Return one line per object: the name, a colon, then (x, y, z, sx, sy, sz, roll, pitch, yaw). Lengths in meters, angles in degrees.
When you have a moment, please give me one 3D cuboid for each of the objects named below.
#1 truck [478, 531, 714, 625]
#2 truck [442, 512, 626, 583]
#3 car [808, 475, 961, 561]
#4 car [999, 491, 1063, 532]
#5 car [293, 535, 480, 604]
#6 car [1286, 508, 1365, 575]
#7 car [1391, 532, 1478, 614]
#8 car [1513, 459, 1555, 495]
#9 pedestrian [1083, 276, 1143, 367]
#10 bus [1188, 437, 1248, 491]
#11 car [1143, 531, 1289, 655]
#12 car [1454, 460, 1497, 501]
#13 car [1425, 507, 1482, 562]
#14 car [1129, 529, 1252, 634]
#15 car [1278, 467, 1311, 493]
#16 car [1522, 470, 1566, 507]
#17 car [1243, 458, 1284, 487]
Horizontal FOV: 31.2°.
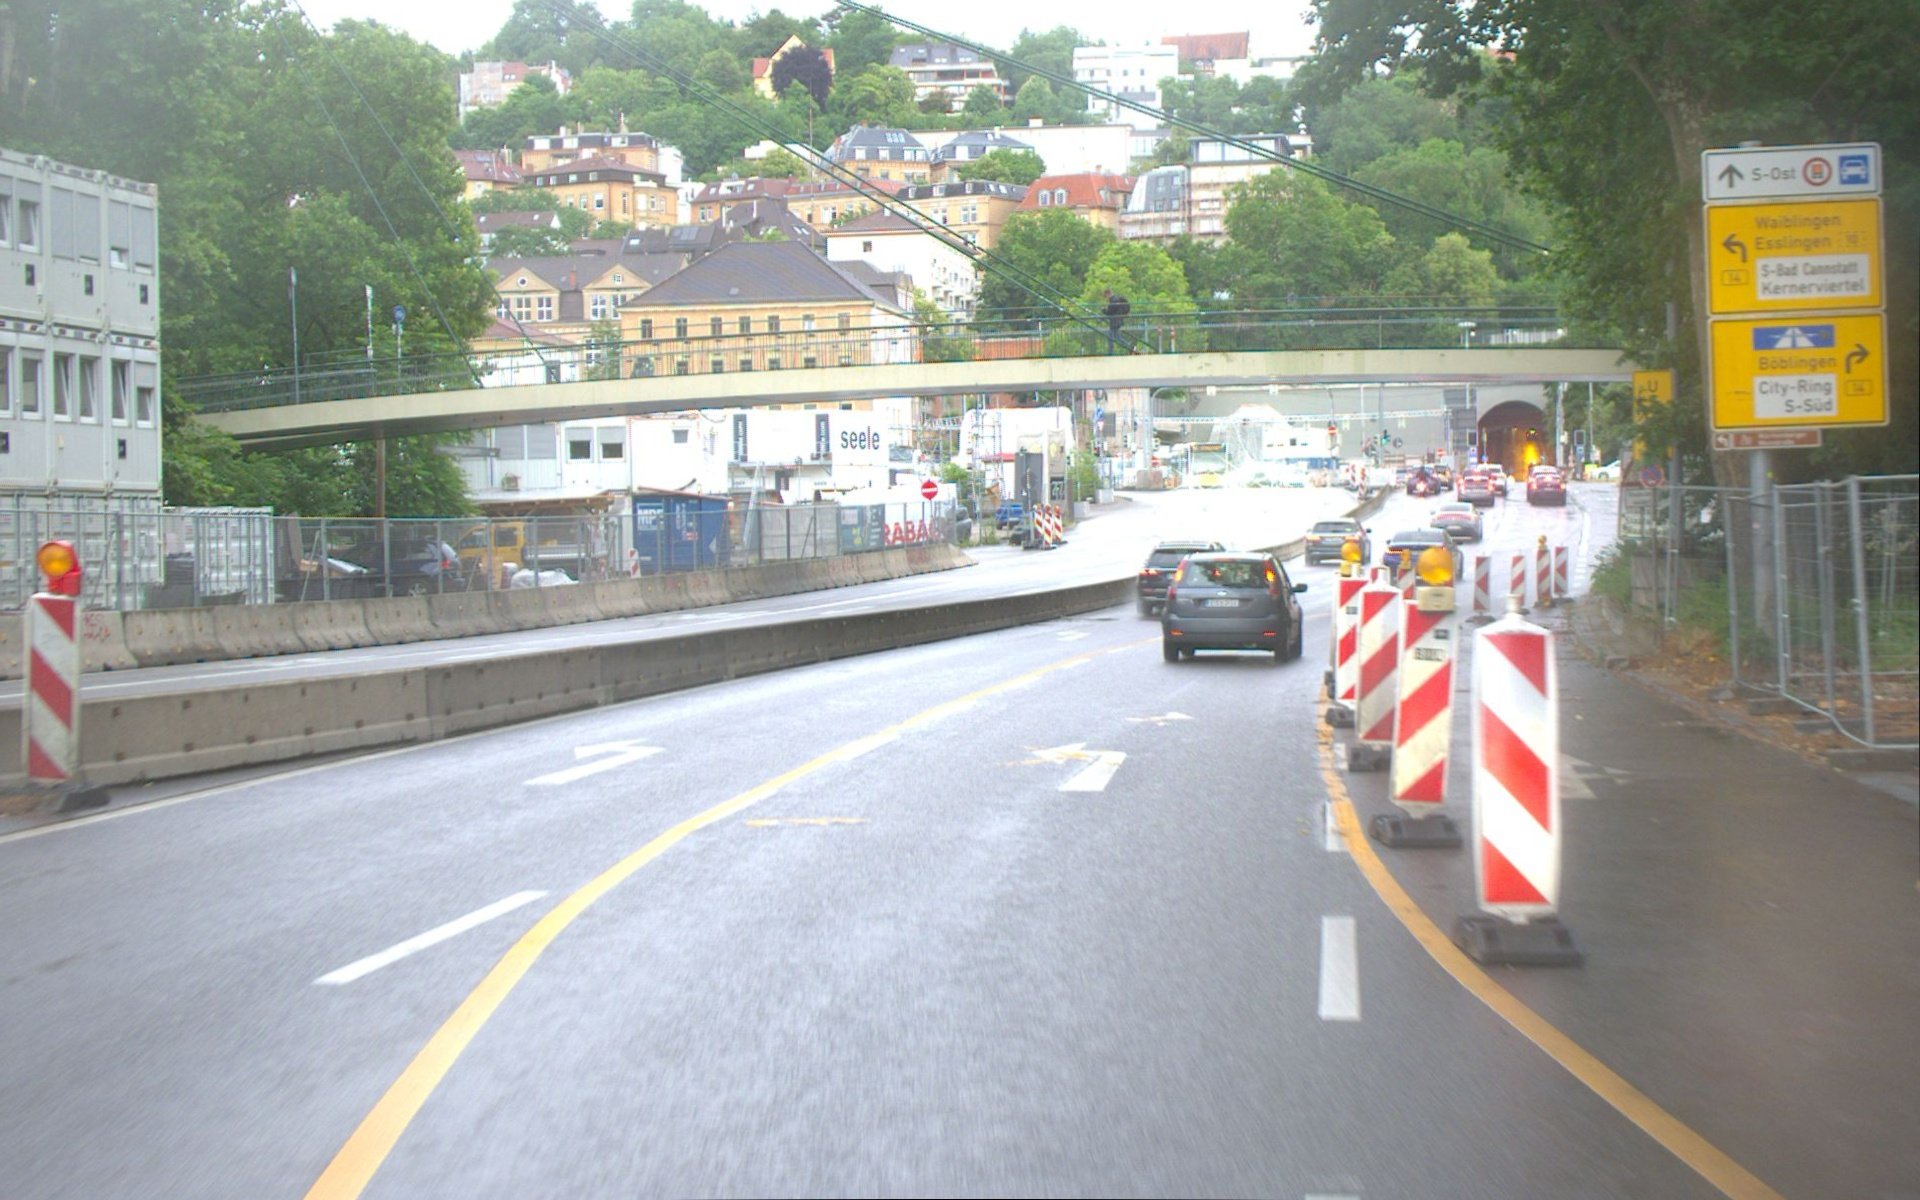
truck: (-10.324, -0.621, 97.993, 6.277, 2.444, 2.694, -2, 0, 3)
truck: (-13.161, -1.642, 106.484, 5.248, 2.007, 2.163, -2, 1, 6)
car: (-2.597, -2.882, 120.150, 1.998, 2.865, 6.040, -2, 0, 37)
car: (3.134, -3.909, 151.013, 1.995, 1.616, 3.998, -1, 3, 13)
car: (-14.771, -0.798, 88.751, 4.423, 1.622, 1.959, -2, 1, 1)
car: (11.465, -1.820, 107.696, 1.994, 2.007, 3.998, -2, 0, 12)
car: (12.595, -0.722, 91.040, 2.105, 2.043, 3.998, -2, 0, 10)
car: (29.832, -6.365, 178.723, 1.994, 1.693, 3.999, -2, 0, 8)
pedestrian: (3.706, -6.711, 82.977, 1.149, 2.053, 1.058, -2, 0, 18)
bus: (16.061, -8.425, 213.545, 2.807, 3.173, 8.804, -2, 1, 9)
car: (3.459, -0.119, 45.964, 1.812, 1.521, 3.999, -2, 1, 6)
car: (25.446, -5.911, 169.756, 1.994, 1.863, 3.999, -2, 0, 8)
car: (18.802, -2.482, 130.970, 2.052, 2.007, 3.999, -2, 0, 9)
car: (4.694, -0.383, 69.505, 2.017, 2.007, 3.998, -2, 0, 10)
car: (21.510, -7.712, 220.998, 1.710, 1.484, 3.449, -2, 0, 11)
car: (29.275, -5.568, 172.525, 1.994, 1.693, 3.999, -2, 0, 8)
car: (18.008, -7.568, 203.884, 2.082, 1.625, 4.851, -2, 2, 9)
